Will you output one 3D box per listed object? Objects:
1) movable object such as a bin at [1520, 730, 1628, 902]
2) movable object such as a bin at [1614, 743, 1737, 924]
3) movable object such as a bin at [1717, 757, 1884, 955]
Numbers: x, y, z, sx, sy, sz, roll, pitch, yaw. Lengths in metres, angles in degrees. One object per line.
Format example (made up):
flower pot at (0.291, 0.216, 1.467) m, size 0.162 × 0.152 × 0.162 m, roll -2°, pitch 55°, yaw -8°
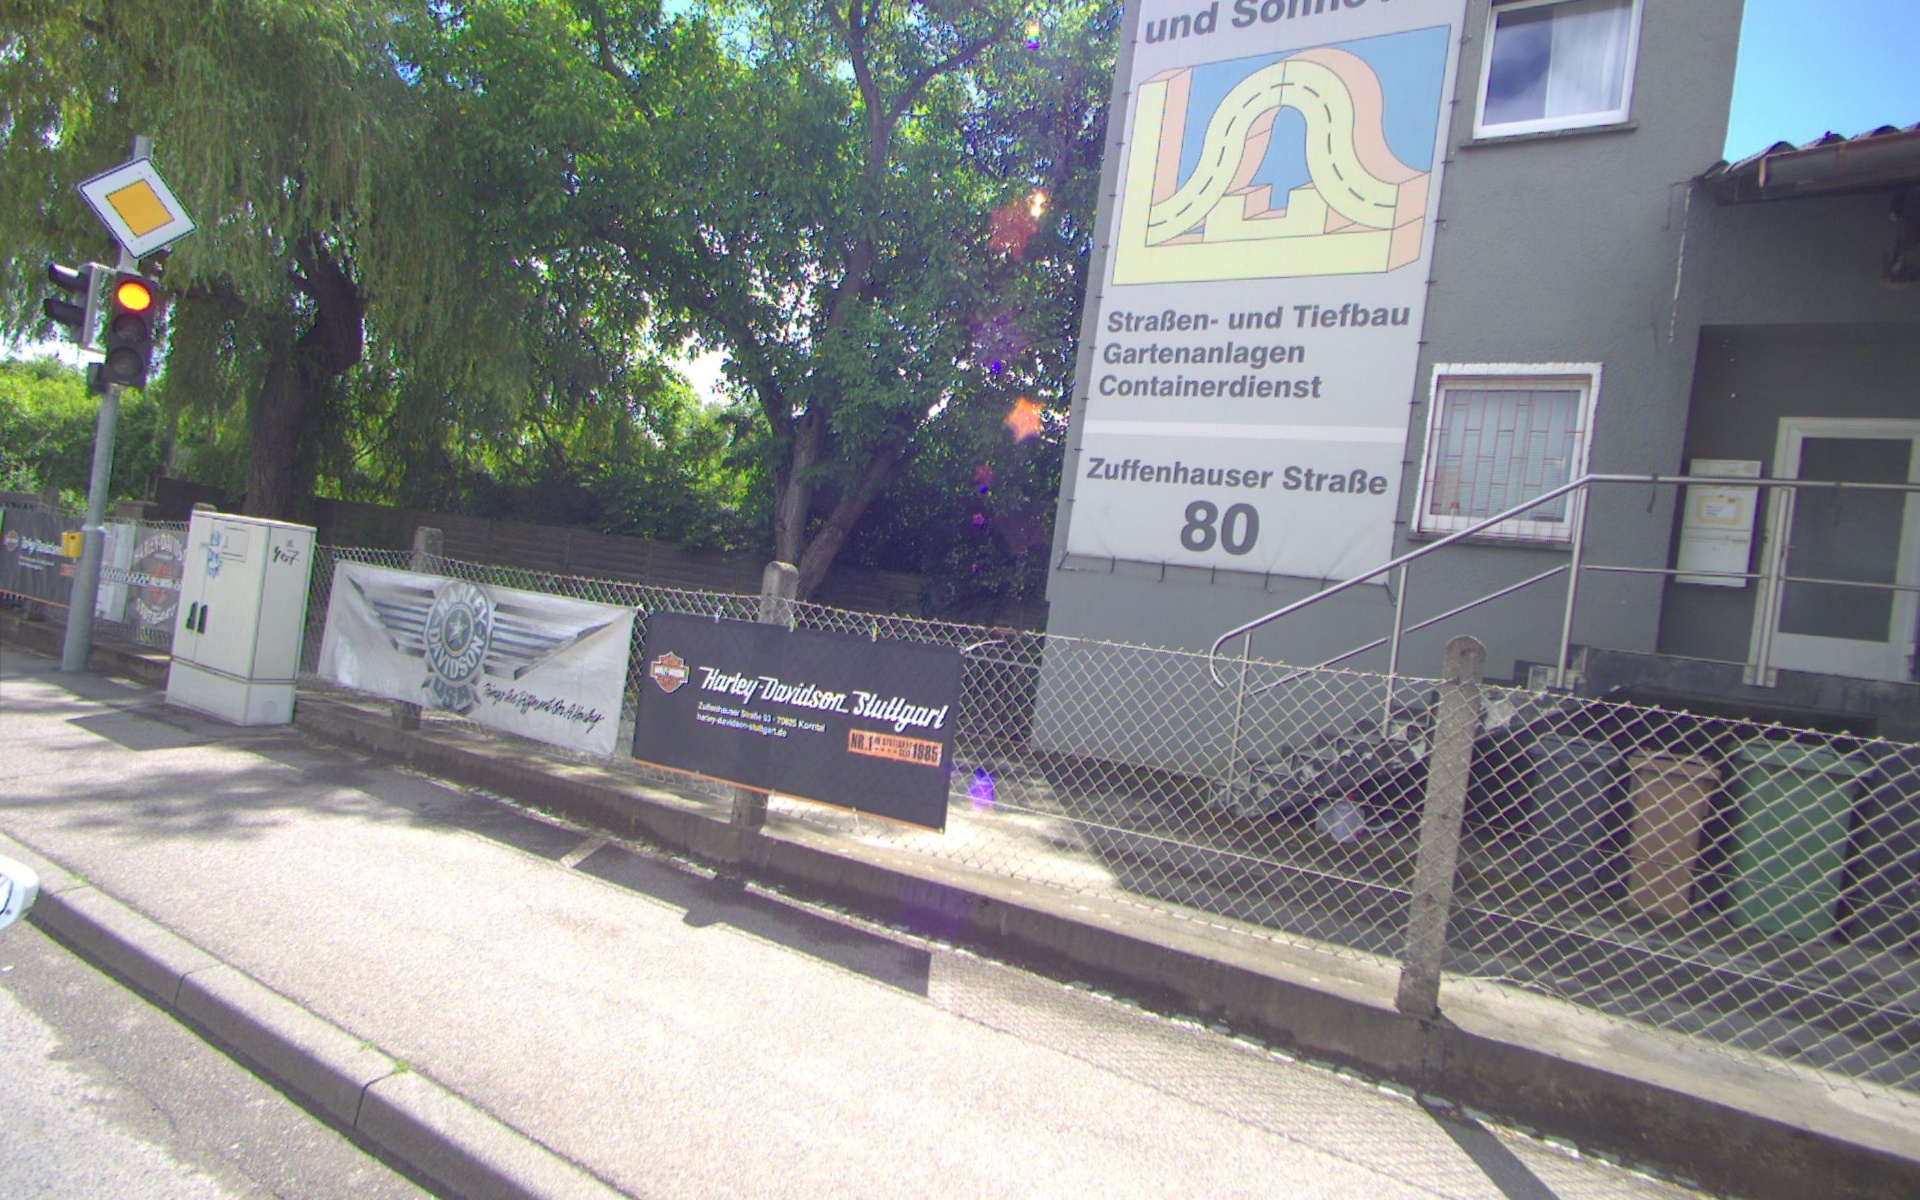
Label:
movable object such as a bin at (3.818, 1.320, 6.284) m, size 0.466 × 0.941 × 0.482 m, roll 7°, pitch -1°, yaw 30°
movable object such as a bin at (4.263, 1.369, 6.021) m, size 0.466 × 0.941 × 0.482 m, roll 7°, pitch -1°, yaw 30°
movable object such as a bin at (4.759, 1.423, 5.730) m, size 0.574 × 0.941 × 0.482 m, roll 6°, pitch -1°, yaw 30°
